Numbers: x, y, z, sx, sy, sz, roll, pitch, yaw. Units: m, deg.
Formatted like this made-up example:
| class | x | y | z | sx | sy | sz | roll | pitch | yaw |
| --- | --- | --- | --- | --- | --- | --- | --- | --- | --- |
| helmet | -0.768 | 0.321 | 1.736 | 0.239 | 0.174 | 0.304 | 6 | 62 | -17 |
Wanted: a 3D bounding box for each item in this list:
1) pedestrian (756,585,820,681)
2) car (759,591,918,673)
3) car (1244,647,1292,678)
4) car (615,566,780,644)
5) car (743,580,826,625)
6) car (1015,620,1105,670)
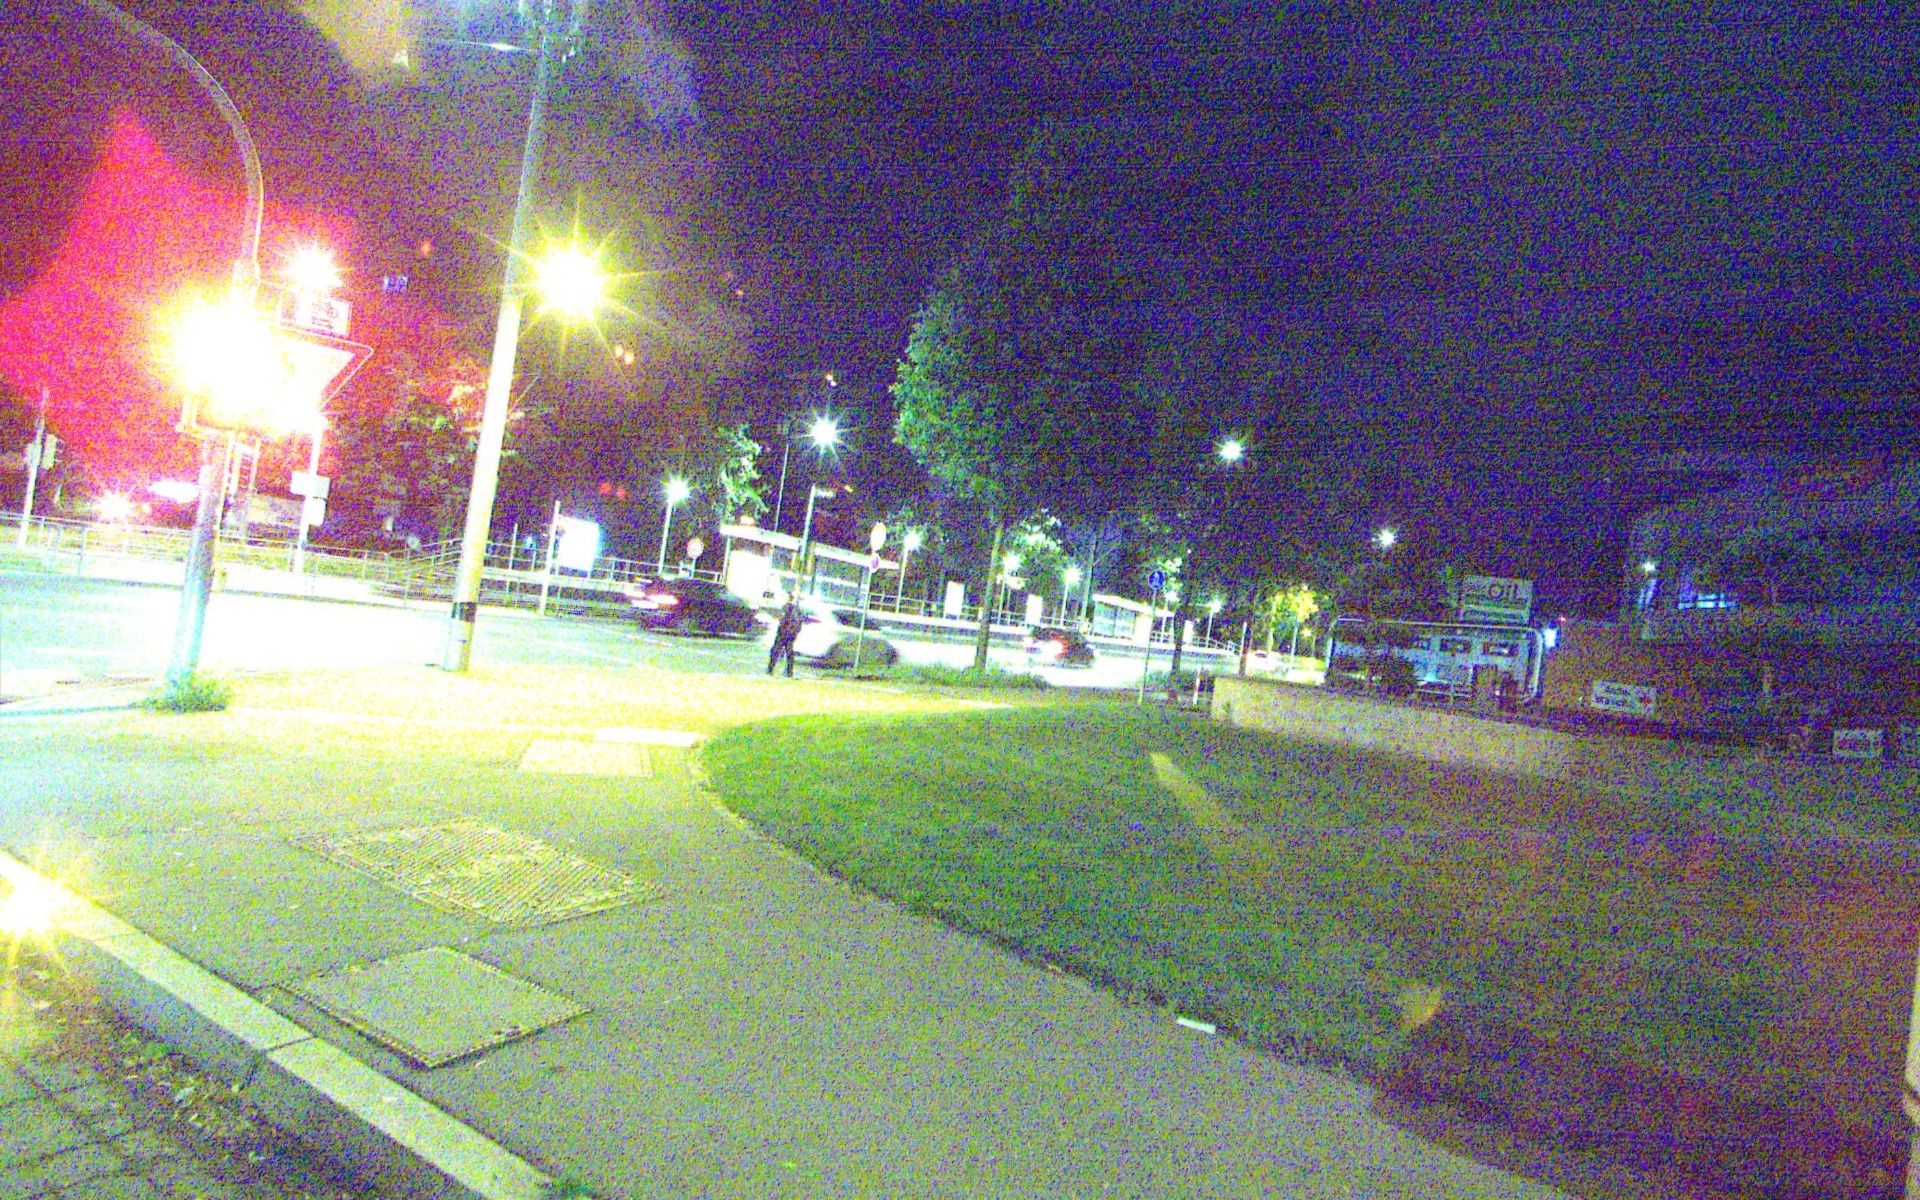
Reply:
| class | x | y | z | sx | sy | sz | roll | pitch | yaw |
| --- | --- | --- | --- | --- | --- | --- | --- | --- | --- |
| pedestrian | -3.352 | 0.635 | 19.622 | 0.820 | 1.767 | 0.755 | 6 | 1 | 31 |
| car | -3.089 | 0.888 | 26.313 | 1.781 | 1.683 | 3.990 | 9 | 1 | 34 |
| car | 20.862 | 4.224 | 67.932 | 1.844 | 1.703 | 4.288 | 9 | 0 | 32 |
| car | -7.631 | 0.196 | 29.627 | 1.834 | 1.679 | 4.449 | 9 | 0 | 35 |
| car | -9.345 | 0.167 | 53.858 | 1.970 | 2.039 | 3.985 | 6 | 0 | 36 |
| car | 4.338 | 1.961 | 43.098 | 1.781 | 1.671 | 4.346 | 8 | 0 | 34 |
